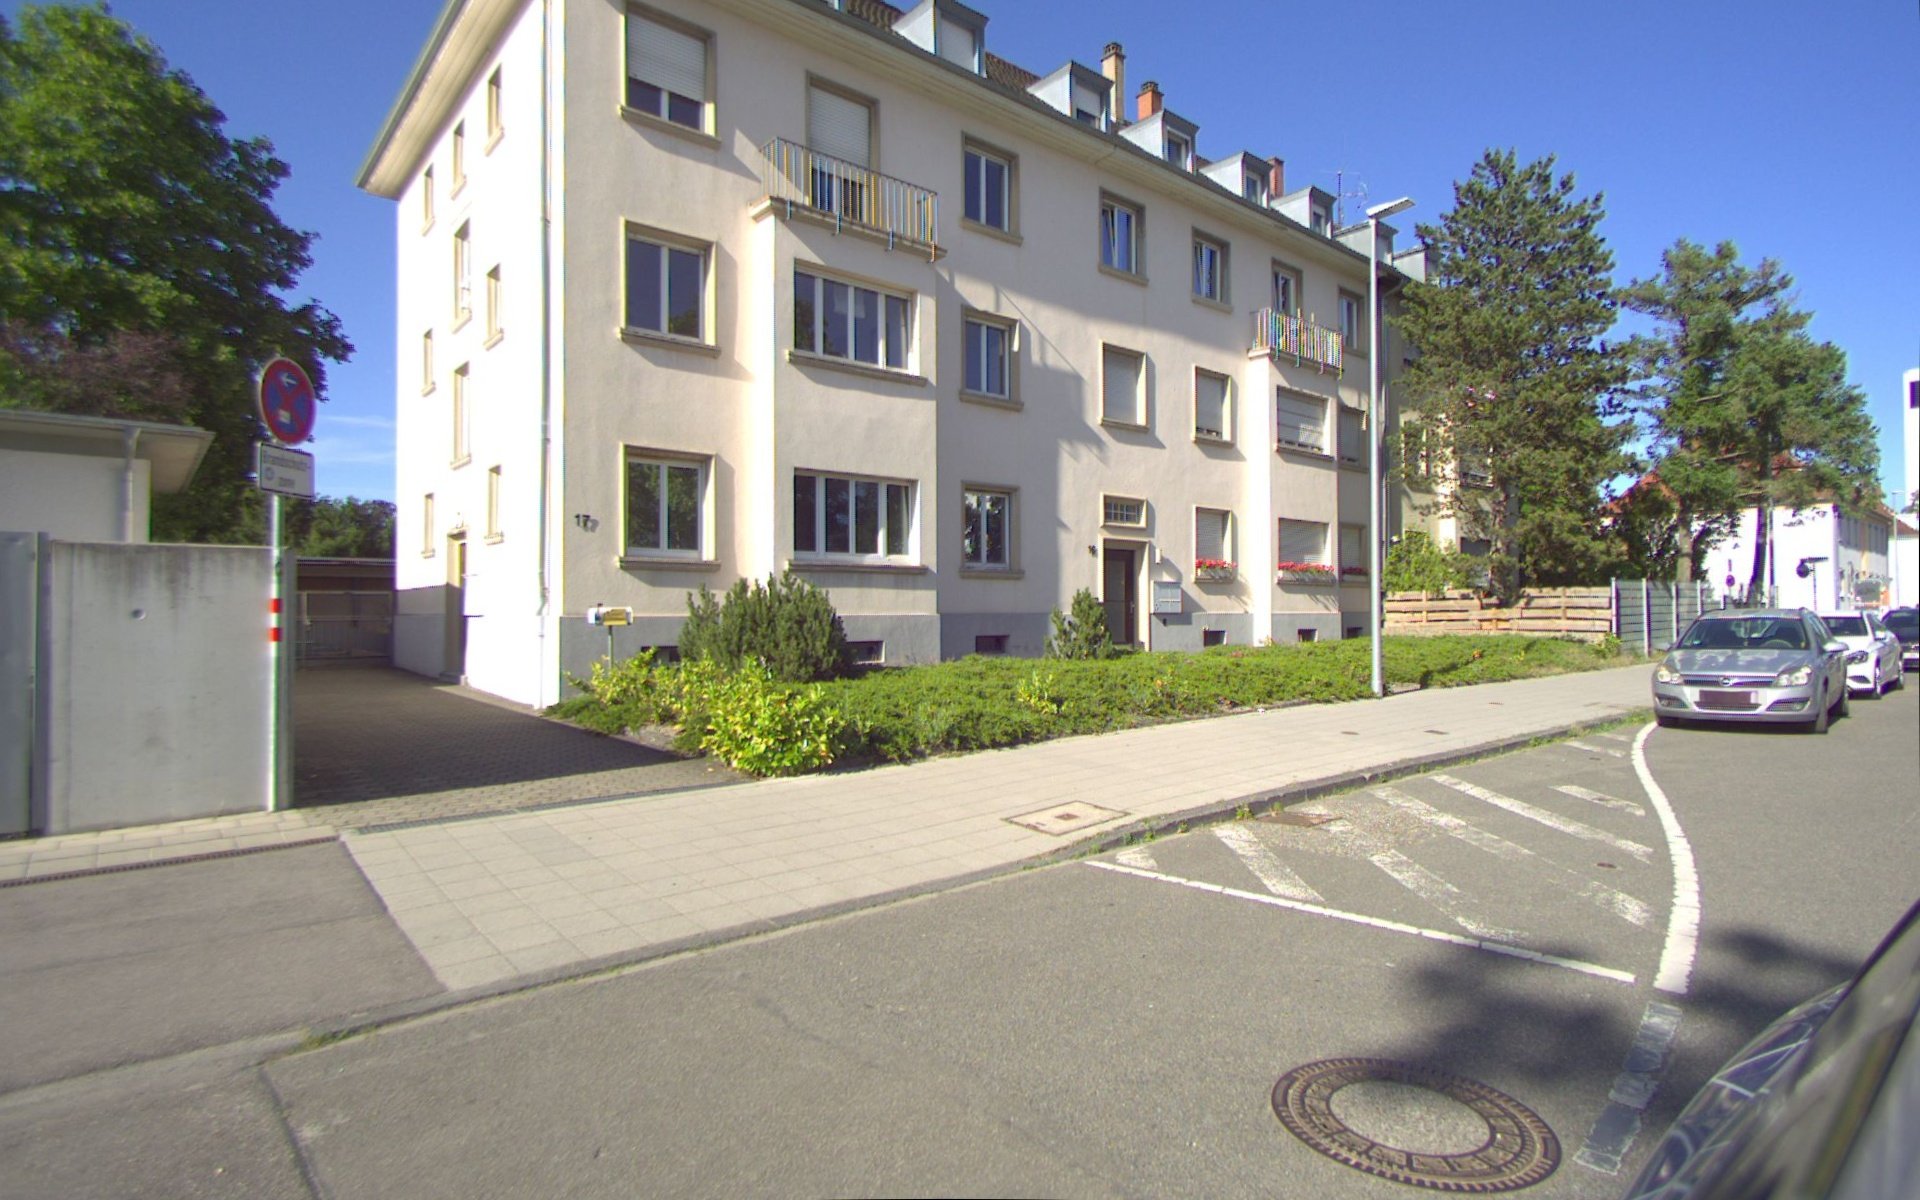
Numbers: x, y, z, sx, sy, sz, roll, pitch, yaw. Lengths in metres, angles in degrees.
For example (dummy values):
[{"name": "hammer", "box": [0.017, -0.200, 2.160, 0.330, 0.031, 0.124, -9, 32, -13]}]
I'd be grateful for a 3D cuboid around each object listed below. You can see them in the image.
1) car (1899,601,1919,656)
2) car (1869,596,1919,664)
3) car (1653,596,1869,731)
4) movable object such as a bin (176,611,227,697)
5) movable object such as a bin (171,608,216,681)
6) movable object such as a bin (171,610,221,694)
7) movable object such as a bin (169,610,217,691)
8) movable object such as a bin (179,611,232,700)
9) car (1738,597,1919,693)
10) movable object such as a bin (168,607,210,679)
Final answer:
[{"name": "car", "box": [27.405, 0.732, 27.934, 4.061, 1.441, 1.674, -1, -2, -41]}, {"name": "car", "box": [22.981, 0.653, 23.827, 3.924, 1.530, 1.797, -1, -2, -41]}, {"name": "car", "box": [10.652, 0.729, 13.335, 4.339, 1.484, 1.660, 0, -2, -45]}, {"name": "movable object such as a bin", "box": [-11.213, 0.780, 14.955, 0.582, 1.227, 0.489, 0, 0, -41]}, {"name": "movable object such as a bin", "box": [-13.239, 0.758, 17.479, 0.582, 1.227, 0.489, 0, 0, -41]}, {"name": "movable object such as a bin", "box": [-11.595, 0.777, 15.367, 0.582, 1.227, 0.489, 0, 0, -41]}, {"name": "movable object such as a bin", "box": [-12.007, 0.773, 15.840, 0.582, 1.227, 0.489, 0, 0, -41]}, {"name": "movable object such as a bin", "box": [-10.834, 0.784, 14.528, 0.582, 1.227, 0.489, 0, 0, -41]}, {"name": "car", "box": [15.192, 0.725, 17.572, 4.213, 1.439, 1.797, -1, -2, -41]}, {"name": "movable object such as a bin", "box": [-13.727, 0.754, 18.017, 0.582, 1.227, 0.489, 0, 0, -41]}]
